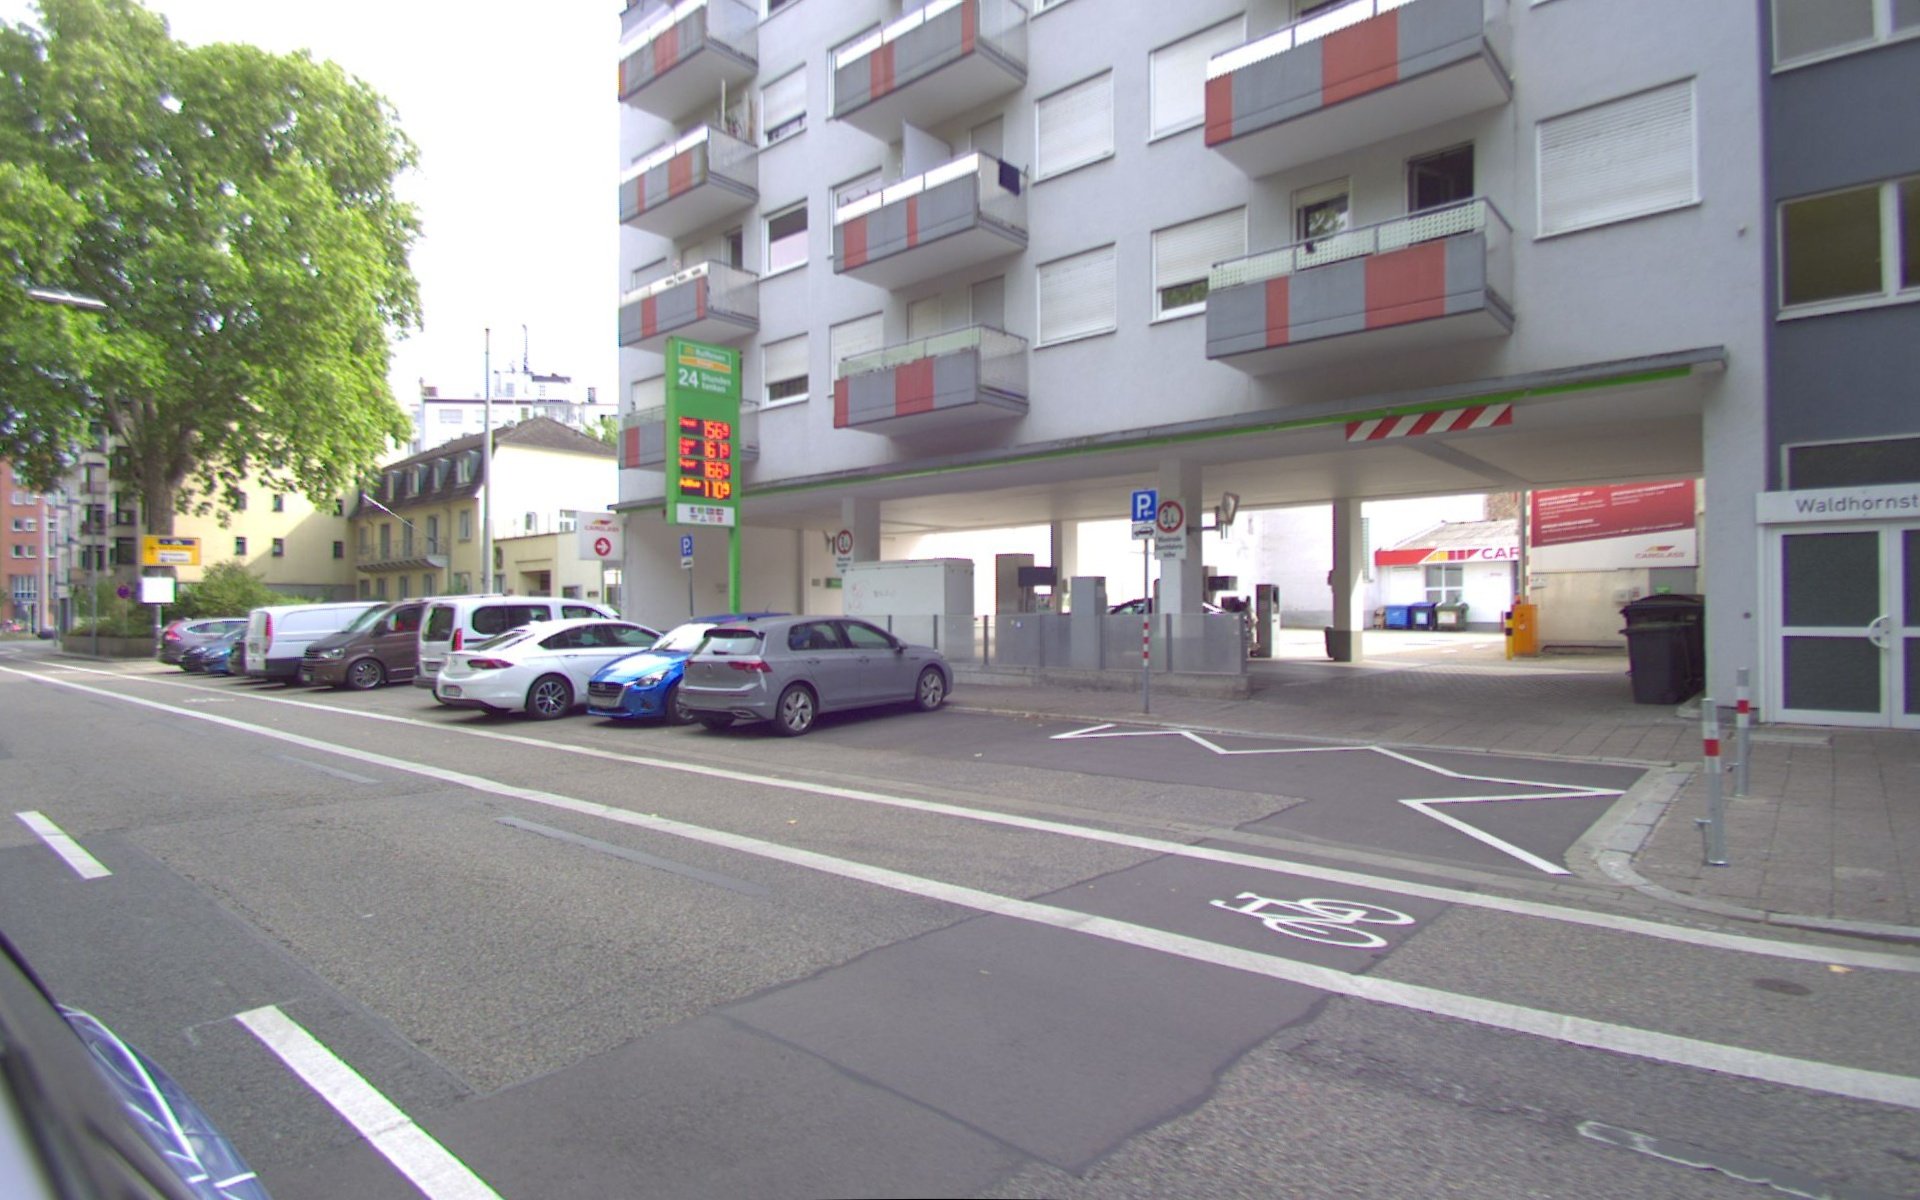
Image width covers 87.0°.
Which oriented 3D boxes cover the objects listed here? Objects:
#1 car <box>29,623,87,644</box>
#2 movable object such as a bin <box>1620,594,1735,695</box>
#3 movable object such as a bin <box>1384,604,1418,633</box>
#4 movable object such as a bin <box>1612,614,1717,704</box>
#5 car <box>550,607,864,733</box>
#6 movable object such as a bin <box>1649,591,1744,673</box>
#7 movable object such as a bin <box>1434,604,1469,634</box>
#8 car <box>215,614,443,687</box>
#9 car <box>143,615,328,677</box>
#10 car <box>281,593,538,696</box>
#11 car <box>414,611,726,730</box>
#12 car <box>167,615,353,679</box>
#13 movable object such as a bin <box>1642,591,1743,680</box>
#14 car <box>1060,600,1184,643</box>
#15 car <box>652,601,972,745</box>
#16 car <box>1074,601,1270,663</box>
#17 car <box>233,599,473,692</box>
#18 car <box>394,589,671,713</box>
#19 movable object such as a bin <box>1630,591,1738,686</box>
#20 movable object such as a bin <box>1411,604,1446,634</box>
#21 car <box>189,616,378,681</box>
[{"bbox_3d":[-81.506,3.010,91.542,1.940,1.683,4.562,-1,0,-12],"label":"car"},{"bbox_3d":[10.237,0.624,14.440,1.178,1.362,1.031,-2,-2,44],"label":"movable object such as a bin"},{"bbox_3d":[22.833,0.961,52.395,1.229,1.454,1.167,0,-1,-38],"label":"movable object such as a bin"},{"bbox_3d":[9.249,0.750,13.289,0.975,1.115,0.934,-2,-2,44],"label":"movable object such as a bin"},{"bbox_3d":[-3.674,0.934,15.295,1.909,1.462,4.256,-2,1,41],"label":"car"},{"bbox_3d":[12.751,0.549,17.531,1.178,1.362,1.031,-2,-2,44],"label":"movable object such as a bin"},{"bbox_3d":[24.421,0.941,50.284,1.229,1.454,1.167,0,-1,-38],"label":"movable object such as a bin"},{"bbox_3d":[-16.233,1.225,26.229,1.873,1.480,4.656,-2,1,42],"label":"car"},{"bbox_3d":[-22.914,1.398,32.156,1.753,1.618,4.471,-2,1,42],"label":"car"},{"bbox_3d":[-12.441,0.911,23.131,1.993,1.948,4.717,-2,1,42],"label":"car"},{"bbox_3d":[-6.072,1.004,16.131,1.873,1.462,4.227,-2,1,41],"label":"car"},{"bbox_3d":[-21.127,1.369,30.687,1.732,1.560,4.316,-2,1,42],"label":"car"},{"bbox_3d":[11.815,0.562,16.327,1.178,1.362,1.031,-2,-2,44],"label":"movable object such as a bin"},{"bbox_3d":[6.127,0.827,38.490,4.365,1.533,1.820,-2,-1,41],"label":"car"},{"bbox_3d":[-1.889,0.864,13.927,1.836,1.525,4.108,-2,1,41],"label":"car"},{"bbox_3d":[4.803,0.702,23.213,3.997,1.308,1.888,-1,-1,41],"label":"car"},{"bbox_3d":[-14.543,1.010,24.465,1.949,1.873,4.567,-2,1,42],"label":"car"},{"bbox_3d":[-7.619,0.824,18.357,1.923,1.861,4.167,-2,1,41],"label":"car"},{"bbox_3d":[11.027,0.574,15.421,1.178,1.362,1.031,-2,-2,44],"label":"movable object such as a bin"},{"bbox_3d":[23.713,0.950,51.264,1.229,1.454,1.167,0,-1,-38],"label":"movable object such as a bin"},{"bbox_3d":[-19.507,1.342,29.308,1.719,1.522,4.220,-2,1,42],"label":"car"}]
